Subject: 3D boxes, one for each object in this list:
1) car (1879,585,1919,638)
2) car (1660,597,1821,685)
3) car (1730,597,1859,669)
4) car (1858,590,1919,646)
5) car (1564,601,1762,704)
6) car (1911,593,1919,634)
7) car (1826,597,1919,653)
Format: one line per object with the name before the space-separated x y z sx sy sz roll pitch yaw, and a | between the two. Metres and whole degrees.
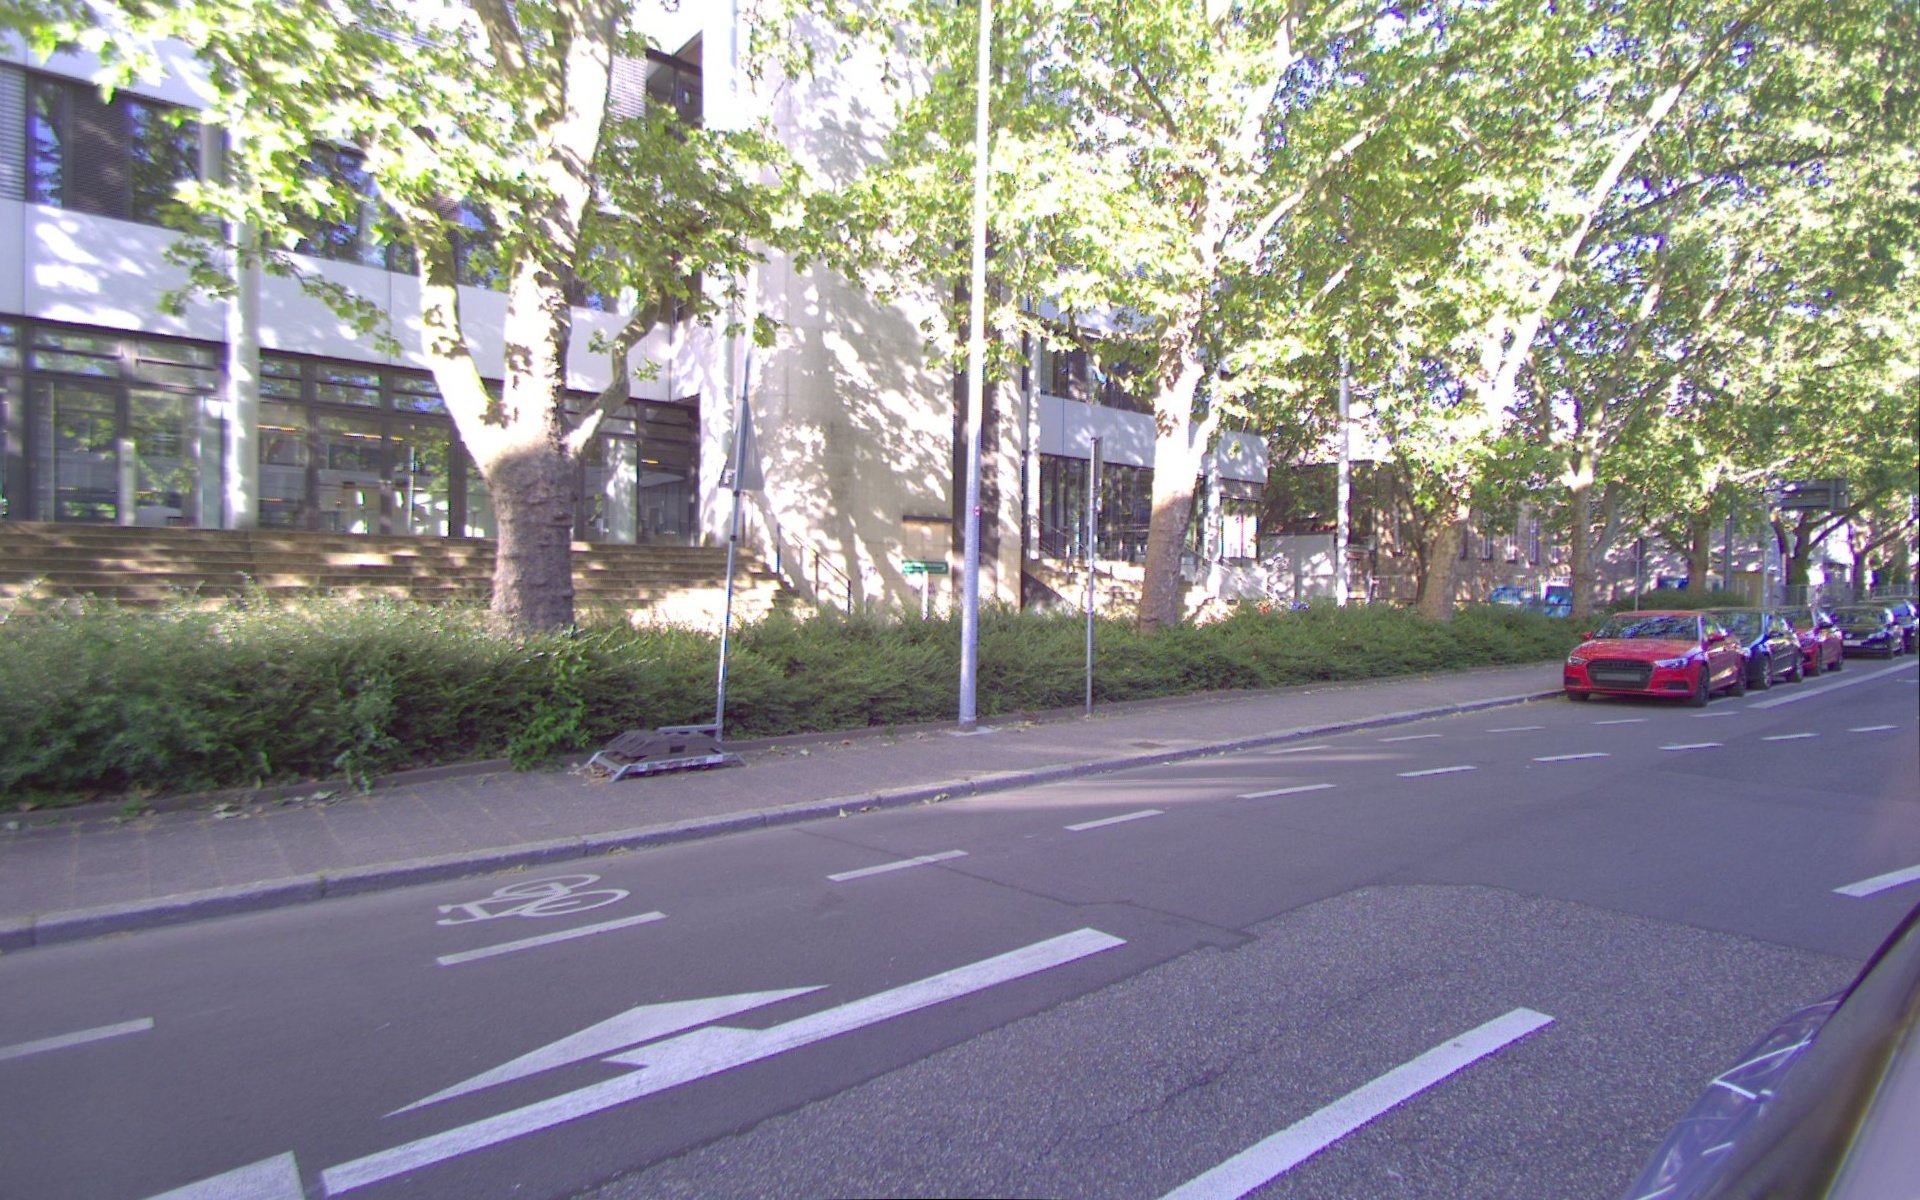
car | 33.988 0.387 35.717 4.354 1.790 1.818 0 1 -41
car | 14.828 0.702 19.154 3.930 1.485 1.684 0 0 -41
car | 18.630 0.673 22.548 3.715 1.452 1.664 0 1 -41
car | 29.533 0.521 31.661 3.770 1.640 1.684 0 1 -41
car | 11.264 0.753 16.127 3.962 1.439 1.722 0 -2 -42
car | 38.726 0.507 39.733 3.801 1.581 1.684 0 1 -41
car | 26.032 0.652 28.708 3.930 1.469 1.684 0 1 -41
